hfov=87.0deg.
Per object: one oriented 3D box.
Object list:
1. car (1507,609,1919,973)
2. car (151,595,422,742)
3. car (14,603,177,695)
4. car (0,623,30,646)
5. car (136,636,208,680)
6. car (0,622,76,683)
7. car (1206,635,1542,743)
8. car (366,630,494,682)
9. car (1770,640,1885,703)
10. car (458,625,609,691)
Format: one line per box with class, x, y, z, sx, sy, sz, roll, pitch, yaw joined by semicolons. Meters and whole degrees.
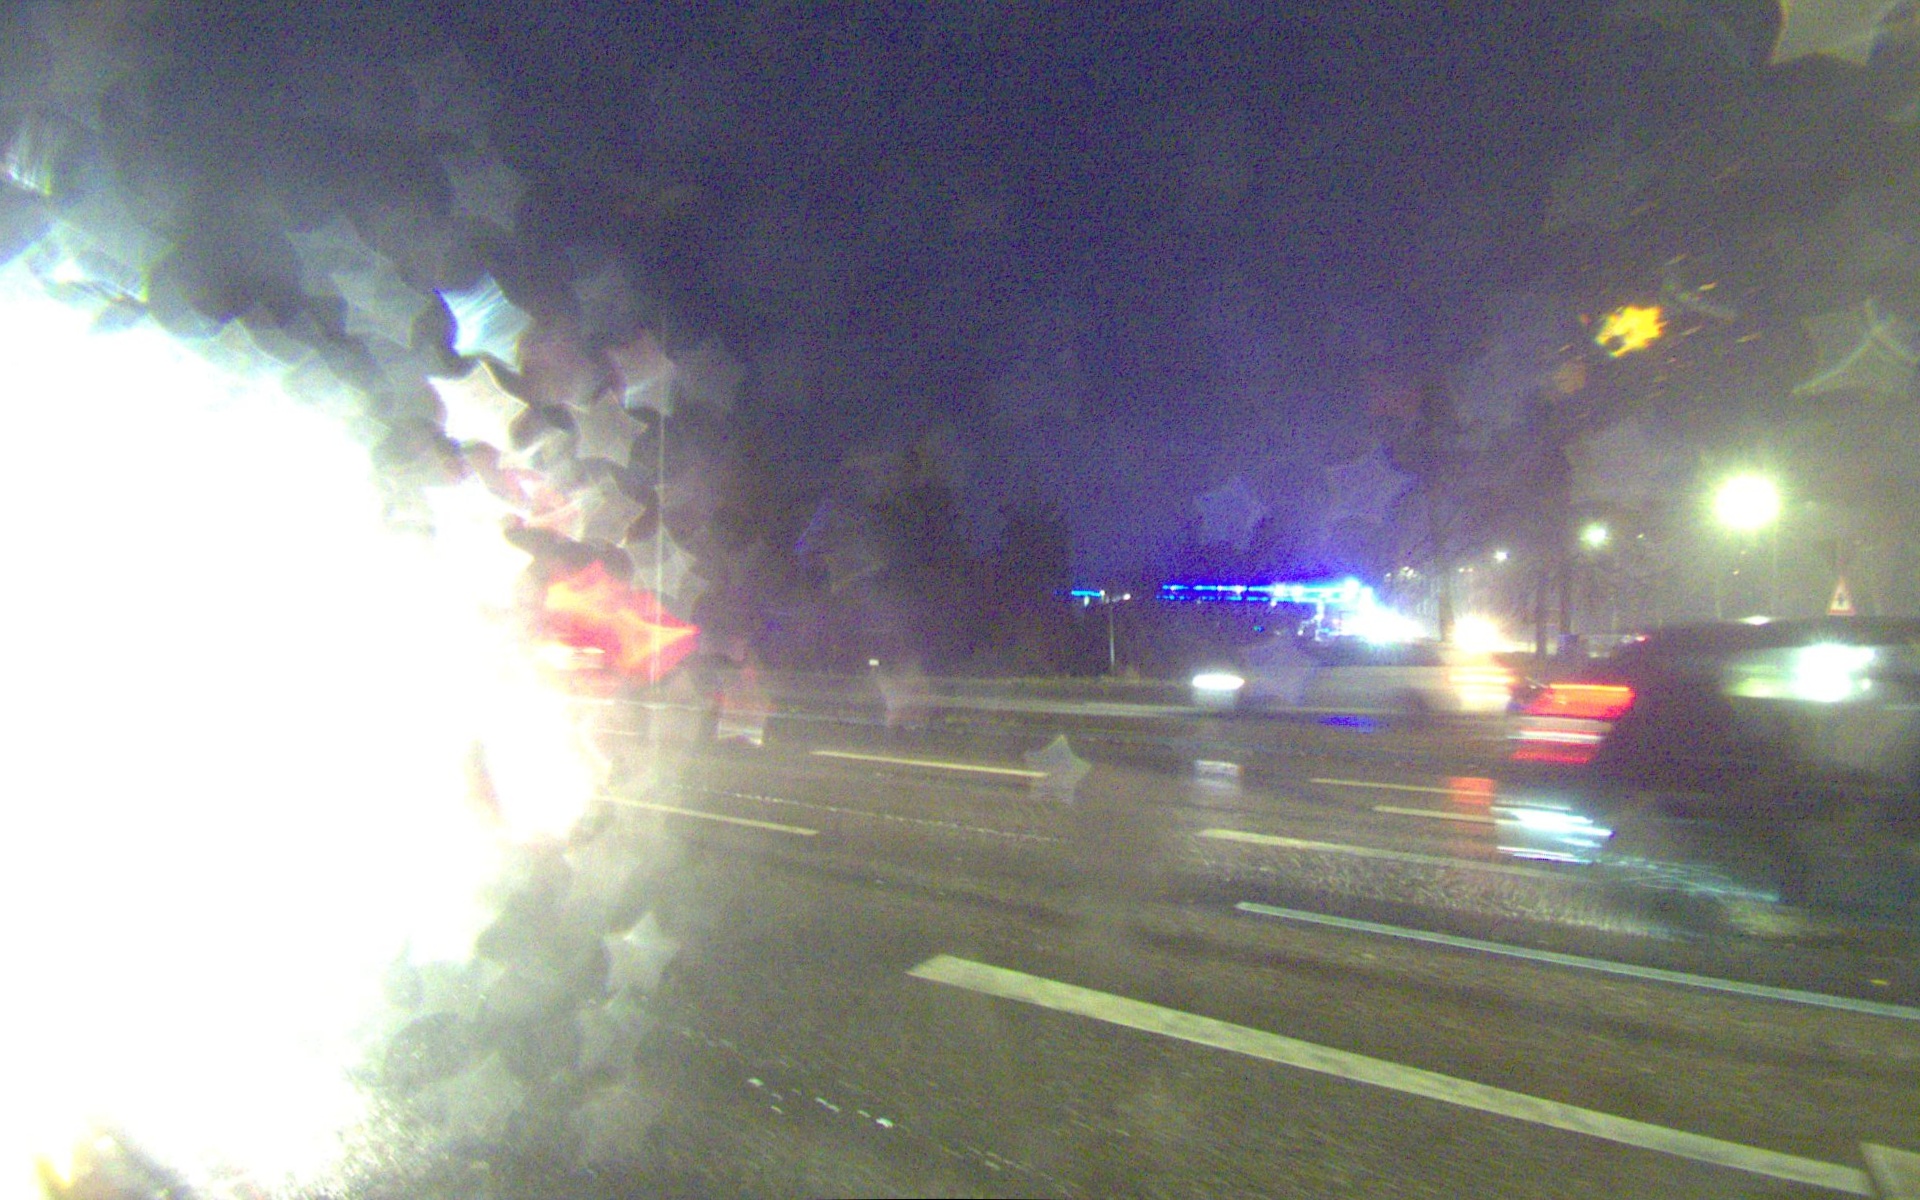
car;4.776;0.744;4.390;4.108;1.418;1.816;-1;-1;33
car;-9.924;0.831;14.769;4.716;1.806;1.974;0;1;39
car;-18.062;0.971;21.084;4.233;1.607;1.766;2;-1;39
car;-77.543;2.782;82.484;4.632;1.751;1.836;0;0;37
car;-37.513;2.699;48.159;4.205;1.848;1.973;0;0;41
car;-25.439;1.367;27.441;4.172;1.456;1.658;0;0;41
car;6.622;1.388;16.368;4.774;1.474;1.911;-1;-6;33
car;-19.486;2.012;37.176;4.769;1.806;2.014;-1;-2;32
car;32.928;2.644;38.567;1.647;2.095;3.983;0;0;13
car;-12.296;1.607;29.112;4.449;1.733;1.885;0;-2;35
